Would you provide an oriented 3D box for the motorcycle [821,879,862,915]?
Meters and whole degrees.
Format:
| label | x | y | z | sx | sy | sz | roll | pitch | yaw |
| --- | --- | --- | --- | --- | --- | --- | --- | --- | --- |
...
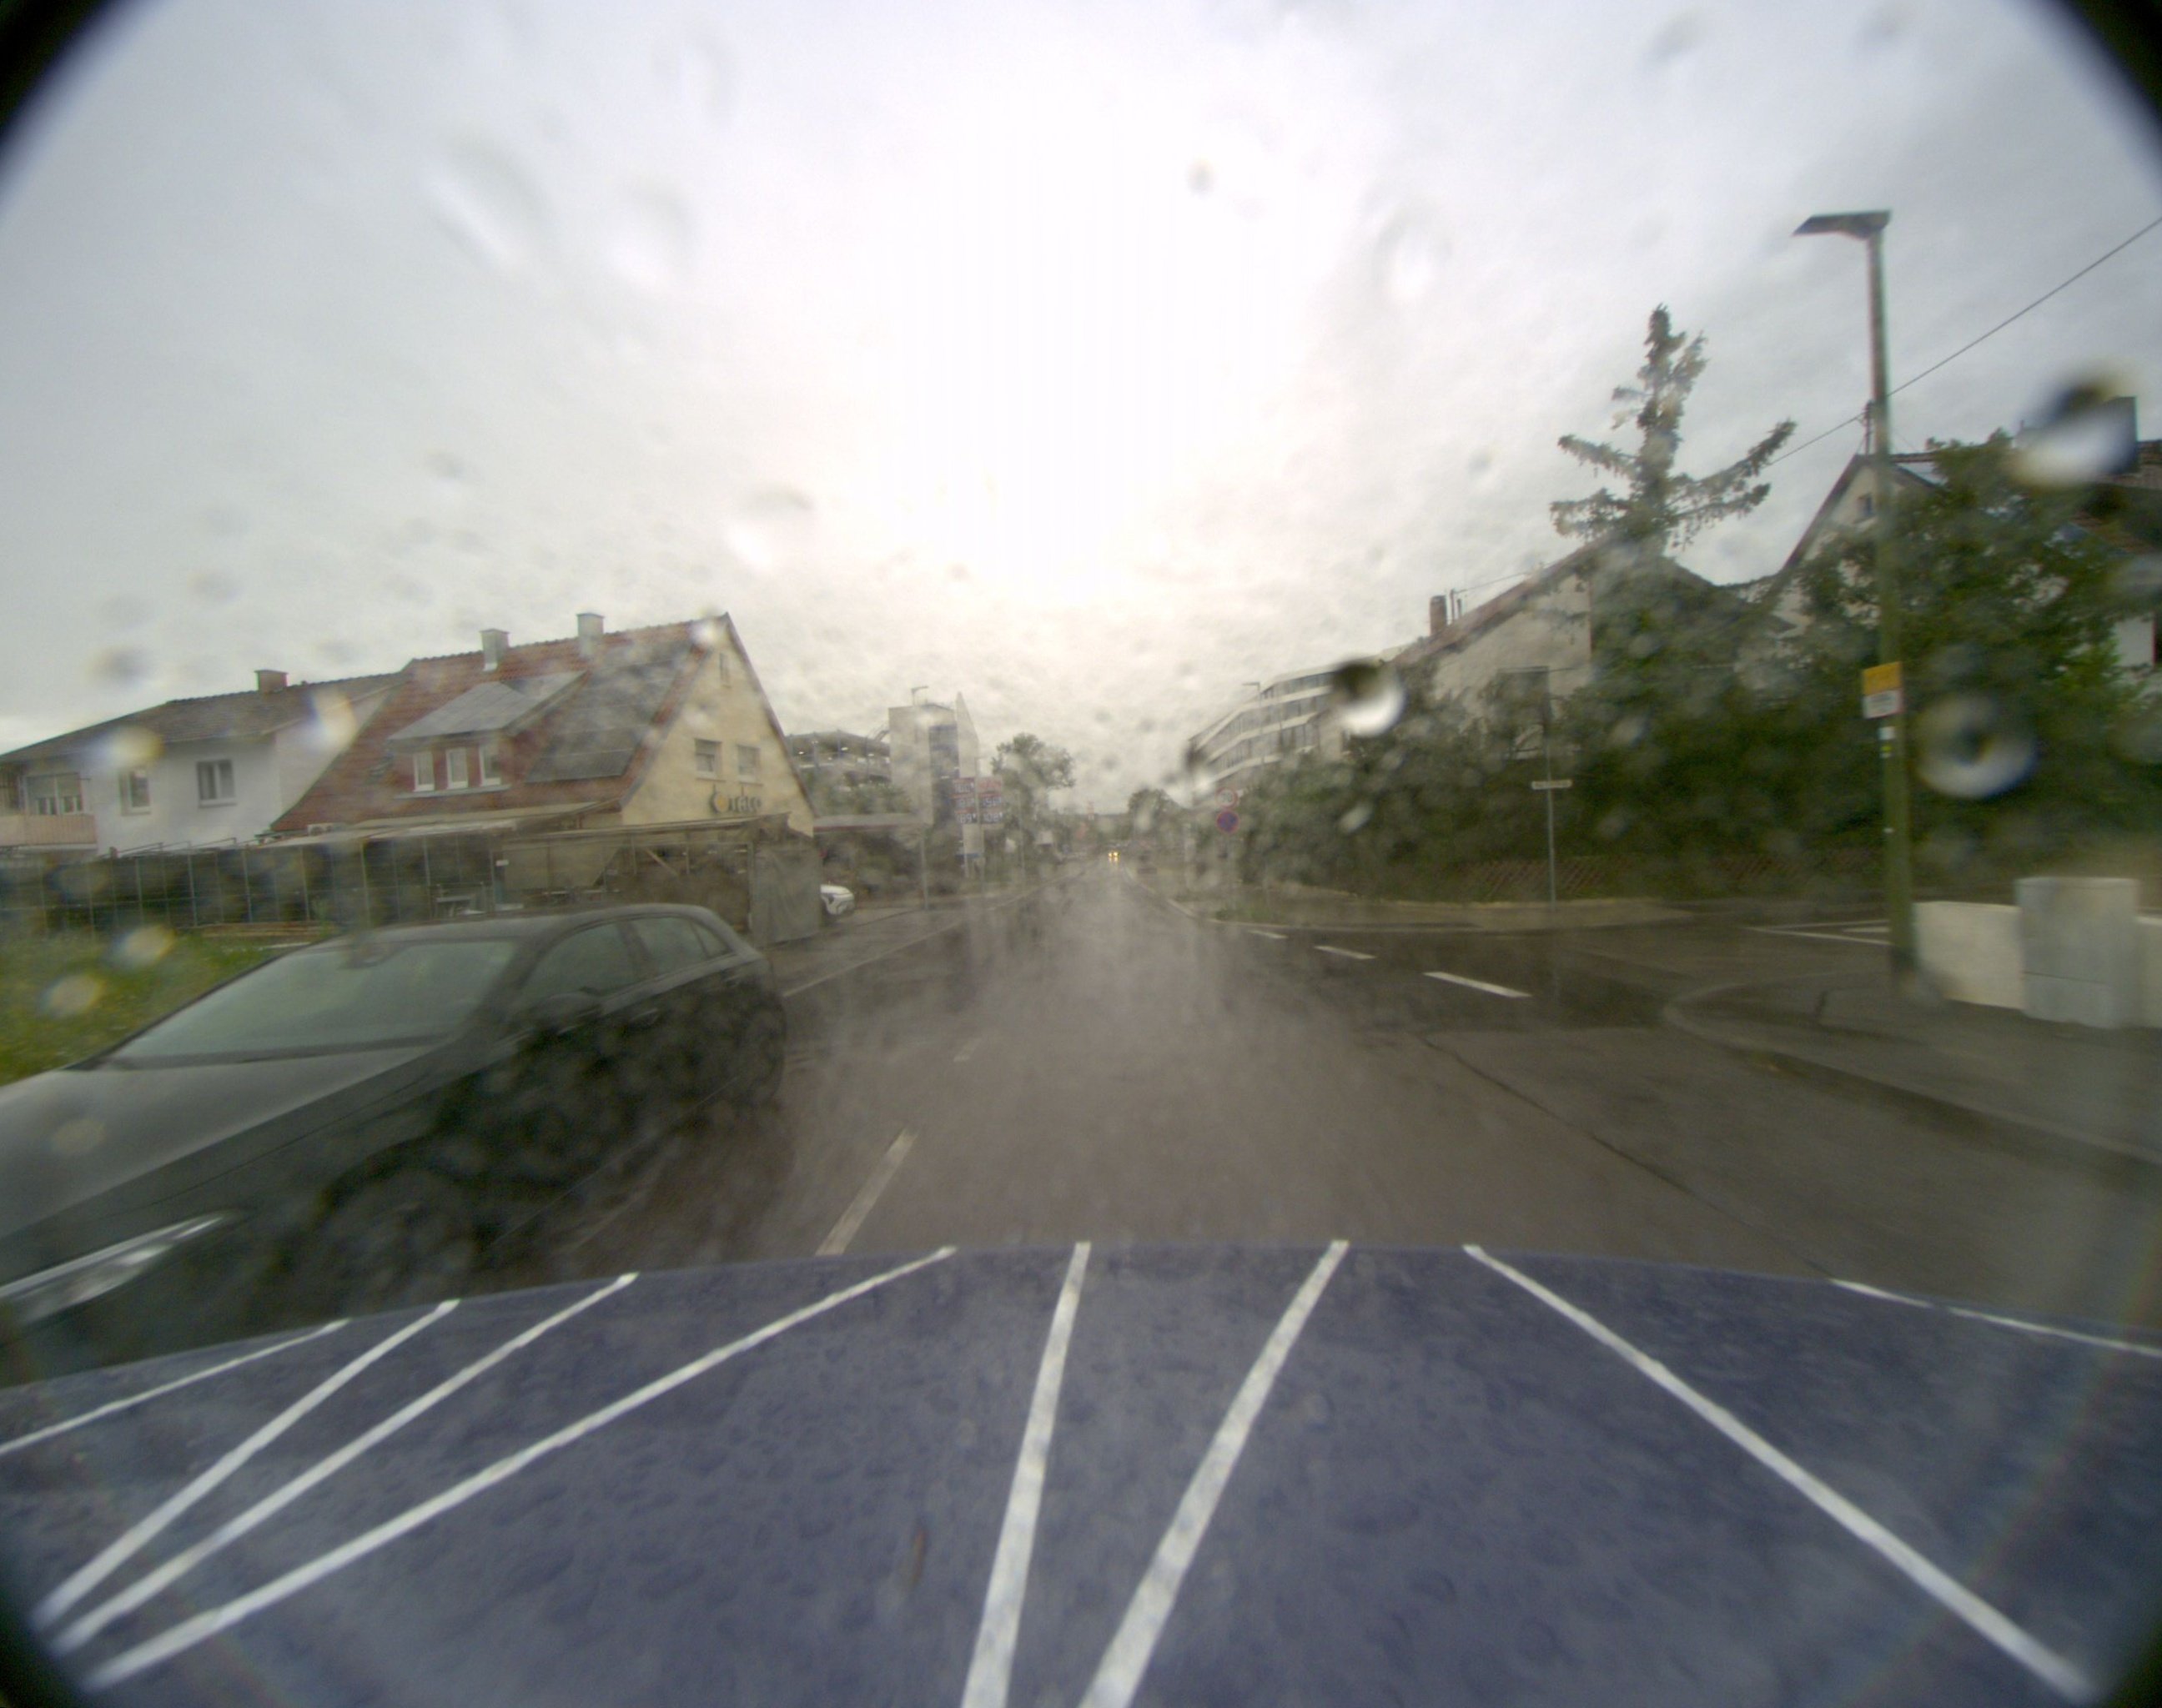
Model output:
| label | x | y | z | sx | sy | sz | roll | pitch | yaw |
| --- | --- | --- | --- | --- | --- | --- | --- | --- | --- |
| motorcycle | -8.027 | 1.417 | 25.497 | 0.489 | 1.089 | 2.001 | -4 | -1 | 6 |

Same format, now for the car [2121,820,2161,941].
| label | x | y | z | sx | sy | sz | roll | pitch | yaw |
| --- | --- | --- | --- | --- | --- | --- | --- | --- | --- |
| car | 15.006 | 0.185 | 8.573 | 3.852 | 1.458 | 1.785 | -4 | 0 | 3 |

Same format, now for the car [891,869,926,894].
| label | x | y | z | sx | sy | sz | roll | pitch | yaw |
| --- | --- | --- | --- | --- | --- | --- | --- | --- | --- |
| car | -10.874 | 1.691 | 48.174 | 1.694 | 1.332 | 4.337 | -4 | 0 | -7 |

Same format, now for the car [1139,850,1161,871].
| label | x | y | z | sx | sy | sz | roll | pitch | yaw |
| --- | --- | --- | --- | --- | --- | --- | --- | --- | --- |
| car | 6.193 | 0.600 | 68.566 | 1.841 | 1.696 | 4.324 | -3 | 1 | 4 |

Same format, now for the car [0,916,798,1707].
| label | x | y | z | sx | sy | sz | roll | pitch | yaw |
| --- | --- | --- | --- | --- | --- | --- | --- | --- | --- |
| car | -3.056 | 1.201 | 3.398 | 1.773 | 1.328 | 4.320 | -4 | 0 | 1 |

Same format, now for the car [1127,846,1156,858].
| label | x | y | z | sx | sy | sz | roll | pitch | yaw |
| --- | --- | --- | --- | --- | --- | --- | --- | --- | --- |
| car | 9.123 | -0.287 | 114.089 | 4.165 | 1.411 | 2.001 | -5 | 0 | 7 |

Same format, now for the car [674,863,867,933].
| label | x | y | z | sx | sy | sz | roll | pitch | yaw |
| --- | --- | --- | --- | --- | --- | --- | --- | --- | --- |
| car | -8.001 | 1.107 | 19.860 | 4.227 | 1.601 | 1.860 | -1 | 1 | 0 |
